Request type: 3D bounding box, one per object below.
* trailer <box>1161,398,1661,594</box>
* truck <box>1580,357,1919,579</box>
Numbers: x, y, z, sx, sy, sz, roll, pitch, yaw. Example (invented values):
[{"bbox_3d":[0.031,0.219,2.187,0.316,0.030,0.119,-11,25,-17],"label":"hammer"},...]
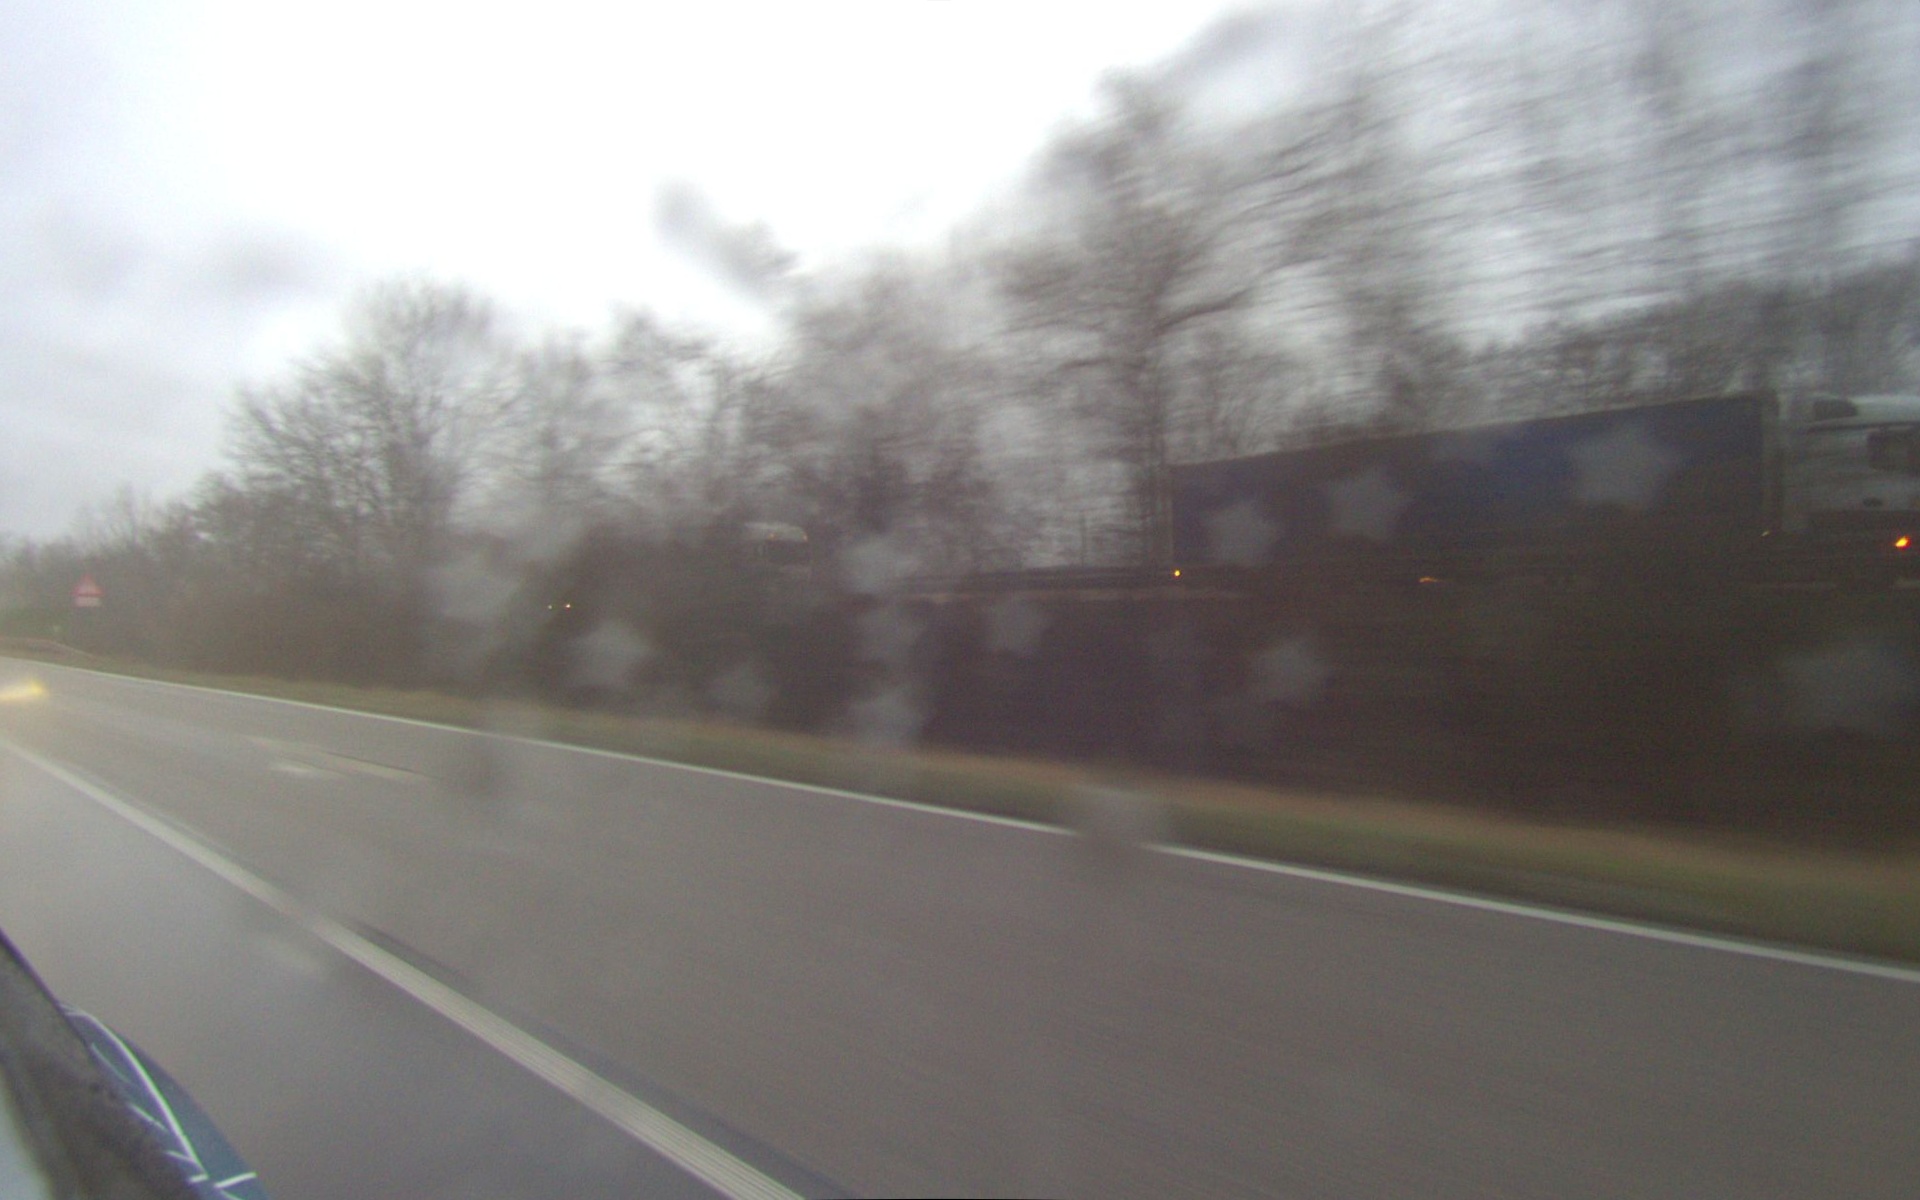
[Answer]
[{"bbox_3d":[10.918,-2.193,26.119,11.388,3.661,2.965,-3,-2,44],"label":"trailer"},{"bbox_3d":[16.569,-2.432,20.696,6.068,3.660,2.959,-3,-2,44],"label":"truck"}]
